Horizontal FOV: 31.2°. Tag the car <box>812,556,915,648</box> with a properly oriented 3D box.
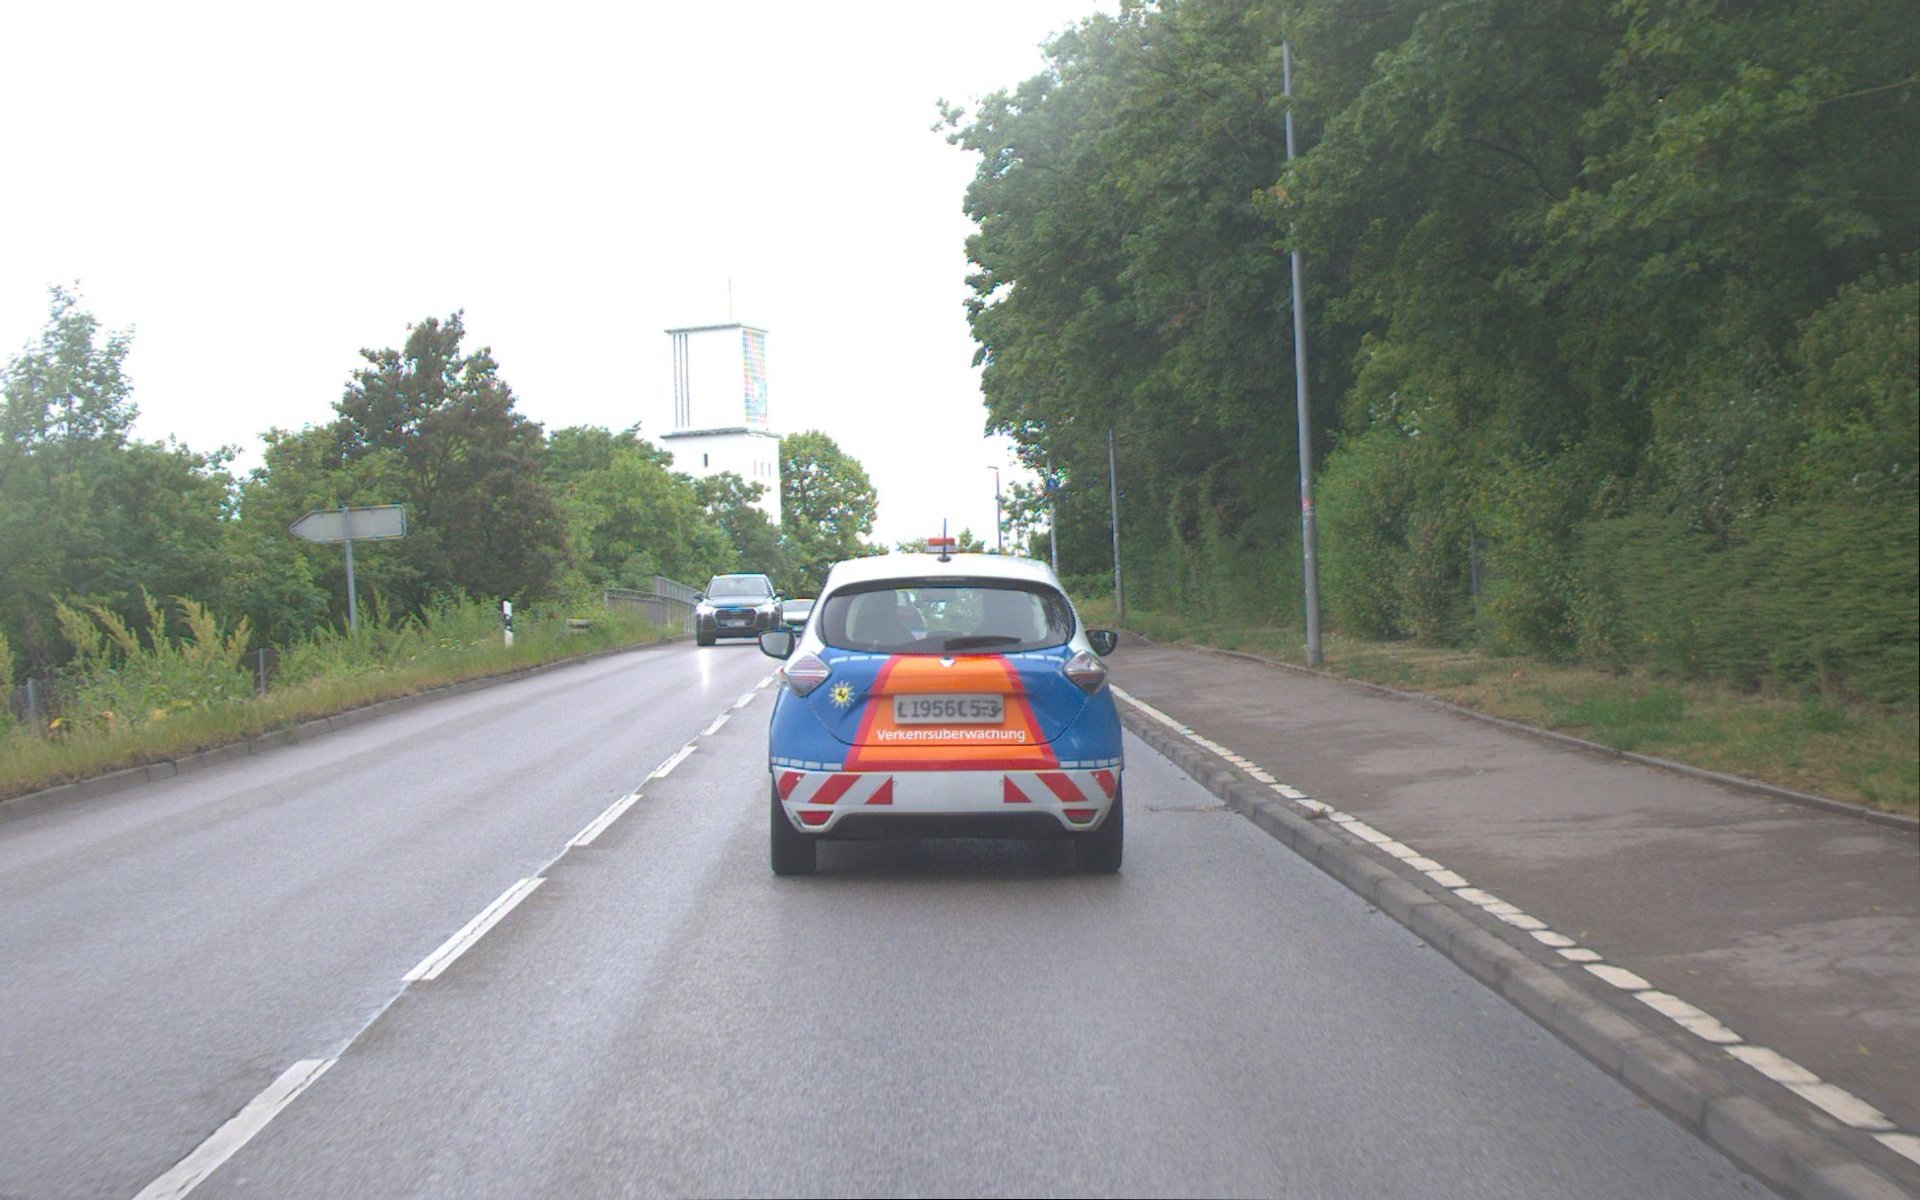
[{"bbox_3d":[-1.835,0.046,64.463,1.802,1.584,3.563,-3,0,-2],"label":"car"}]

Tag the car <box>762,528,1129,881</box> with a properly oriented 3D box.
[{"bbox_3d":[-0.099,0.502,17.663,1.657,1.587,3.568,-1,-1,-1],"label":"car"}]

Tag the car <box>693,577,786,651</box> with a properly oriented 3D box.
[{"bbox_3d":[-5.090,0.300,79.725,1.869,1.580,4.414,-1,1,0],"label":"car"}]

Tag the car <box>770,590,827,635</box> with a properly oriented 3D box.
[{"bbox_3d":[-5.721,0.430,122.060,1.861,1.498,4.728,-1,0,-1],"label":"car"}]
